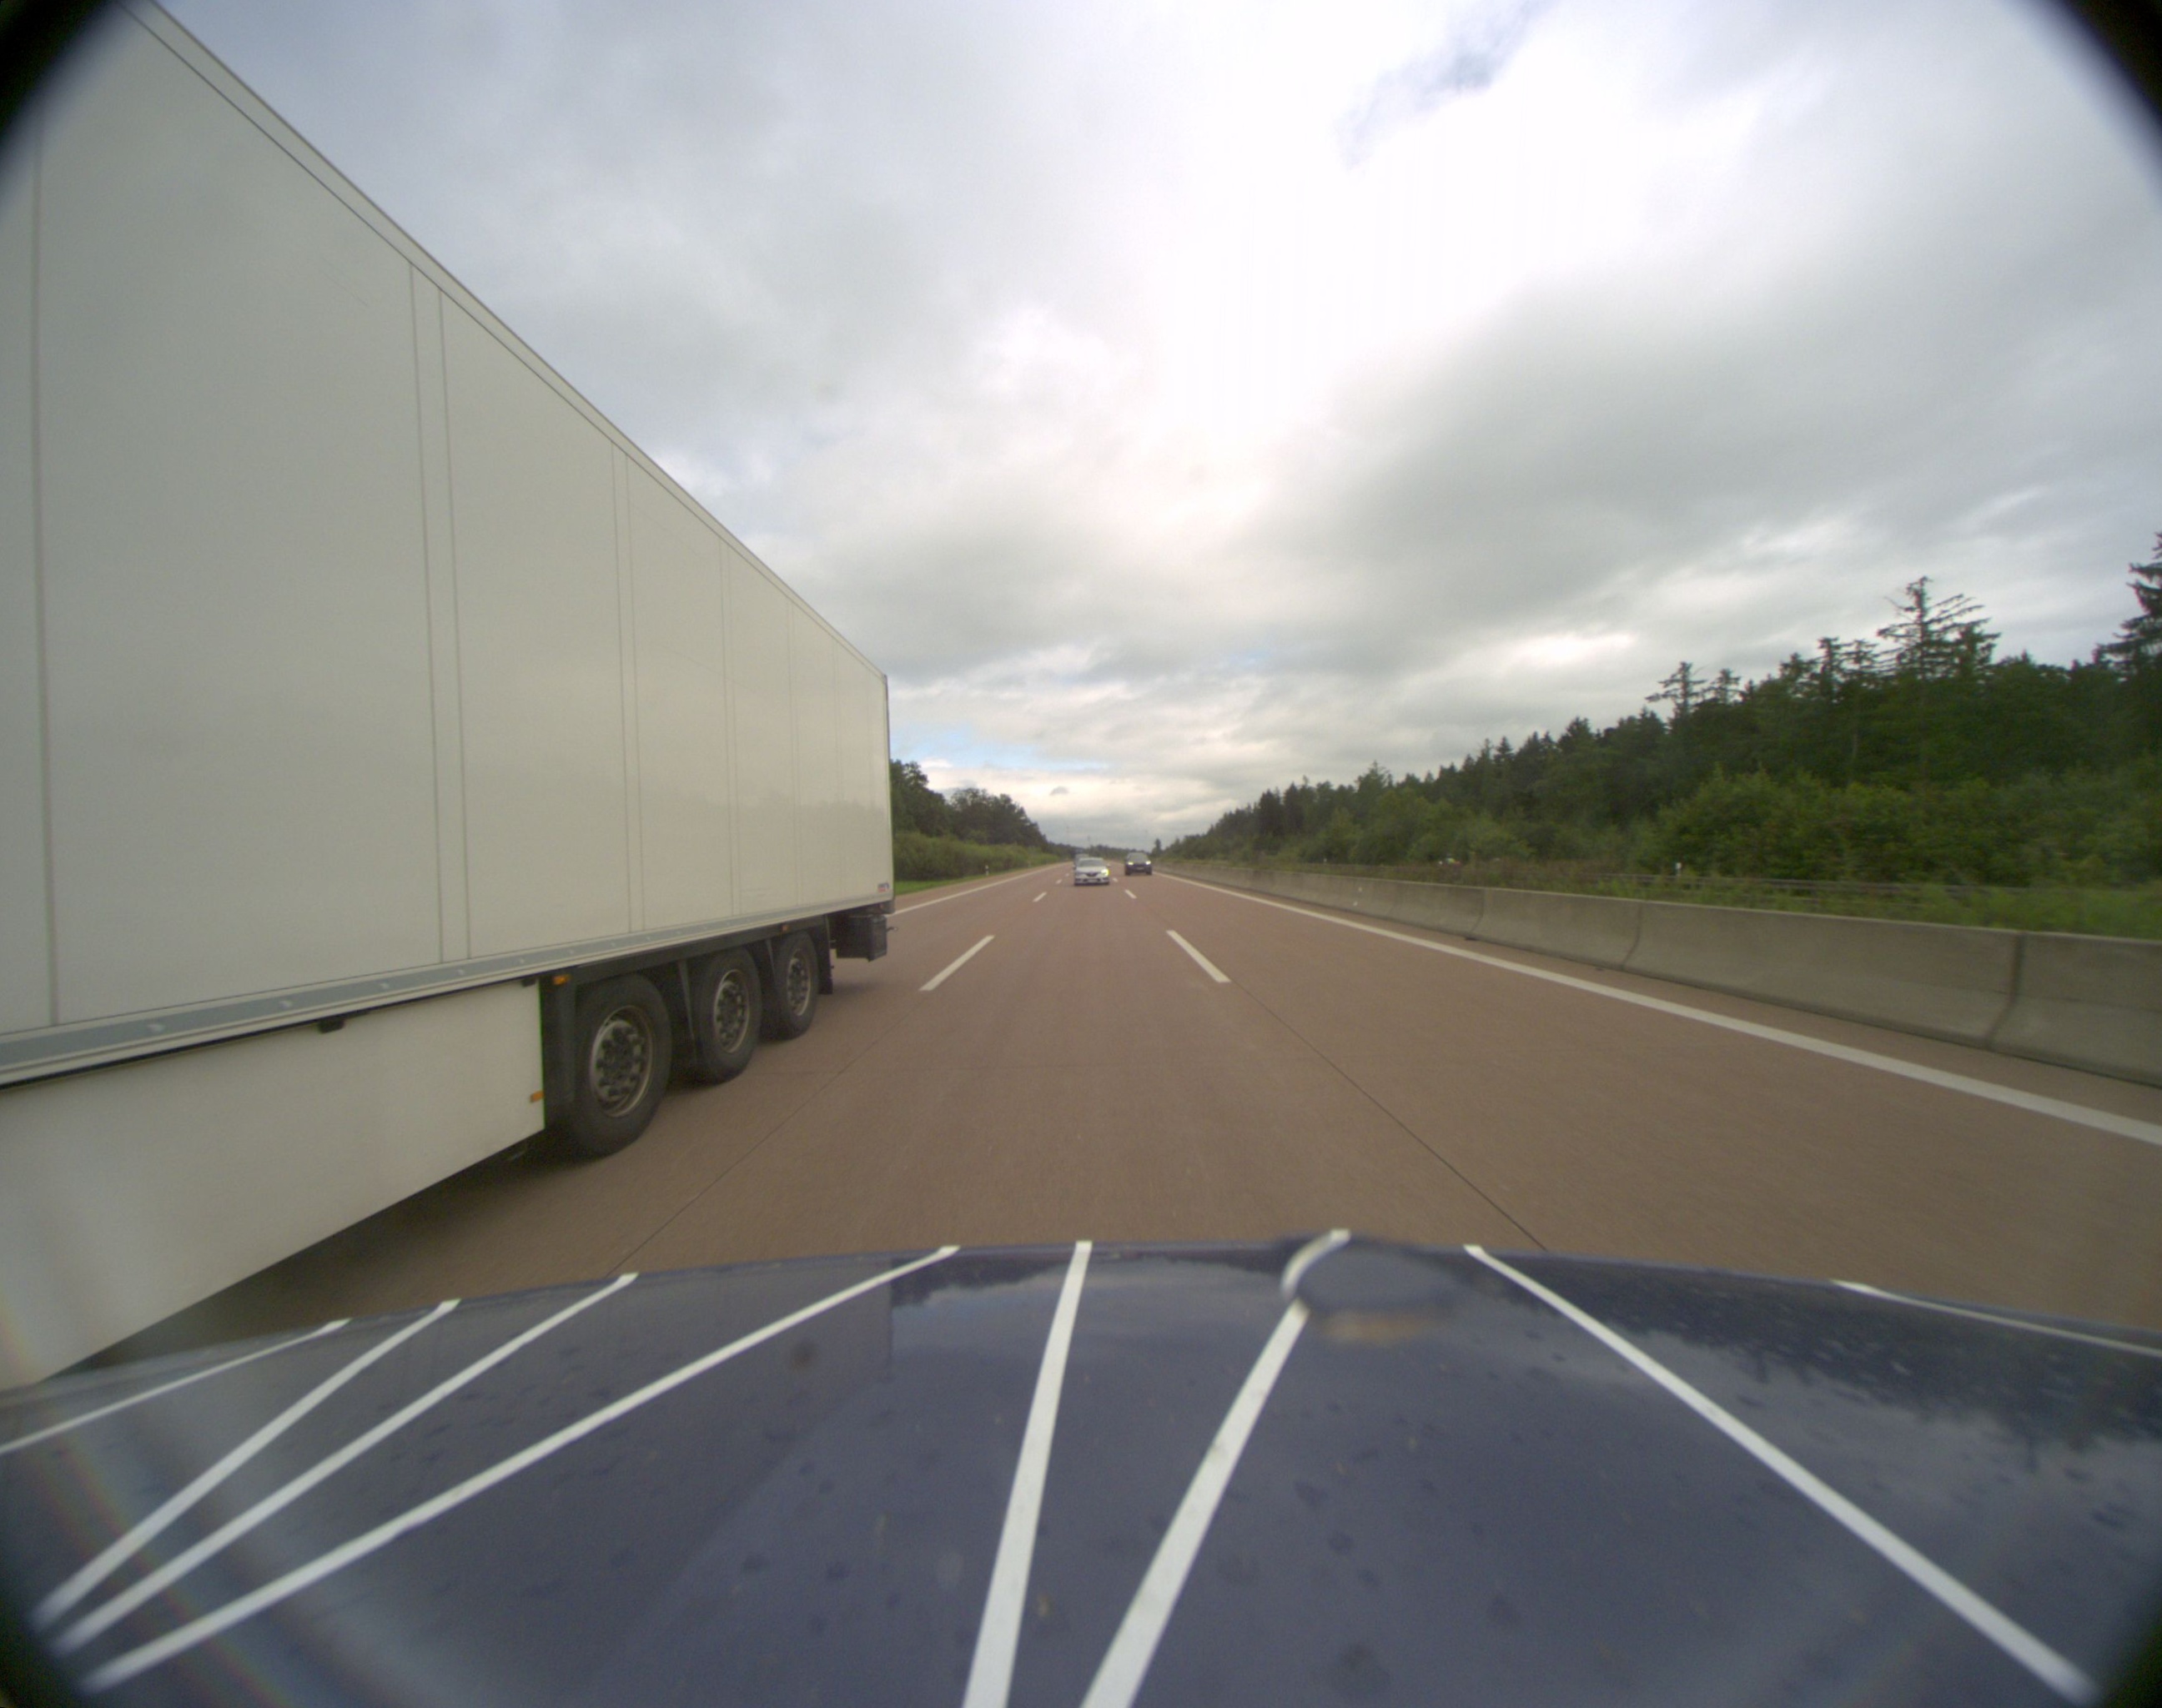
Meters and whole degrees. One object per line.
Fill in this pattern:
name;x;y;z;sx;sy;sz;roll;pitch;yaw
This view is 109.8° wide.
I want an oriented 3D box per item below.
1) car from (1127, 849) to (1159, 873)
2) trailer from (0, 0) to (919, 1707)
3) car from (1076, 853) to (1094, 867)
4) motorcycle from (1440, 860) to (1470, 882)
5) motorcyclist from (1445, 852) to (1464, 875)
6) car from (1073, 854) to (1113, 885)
car;4.601;0.487;56.919;1.998;1.689;5.252;-2;0;1
trailer;-3.648;-0.387;2.784;2.928;4.269;13.612;-2;0;1
car;0.496;0.681;87.243;1.986;1.499;4.052;-2;0;1
motorcycle;20.663;0.919;41.998;0.602;1.149;2.154;-3;0;1
motorcyclist;20.642;0.520;42.038;0.595;1.276;0.801;-3;1;1
car;0.672;0.801;40.357;1.923;1.515;4.001;-2;0;3
